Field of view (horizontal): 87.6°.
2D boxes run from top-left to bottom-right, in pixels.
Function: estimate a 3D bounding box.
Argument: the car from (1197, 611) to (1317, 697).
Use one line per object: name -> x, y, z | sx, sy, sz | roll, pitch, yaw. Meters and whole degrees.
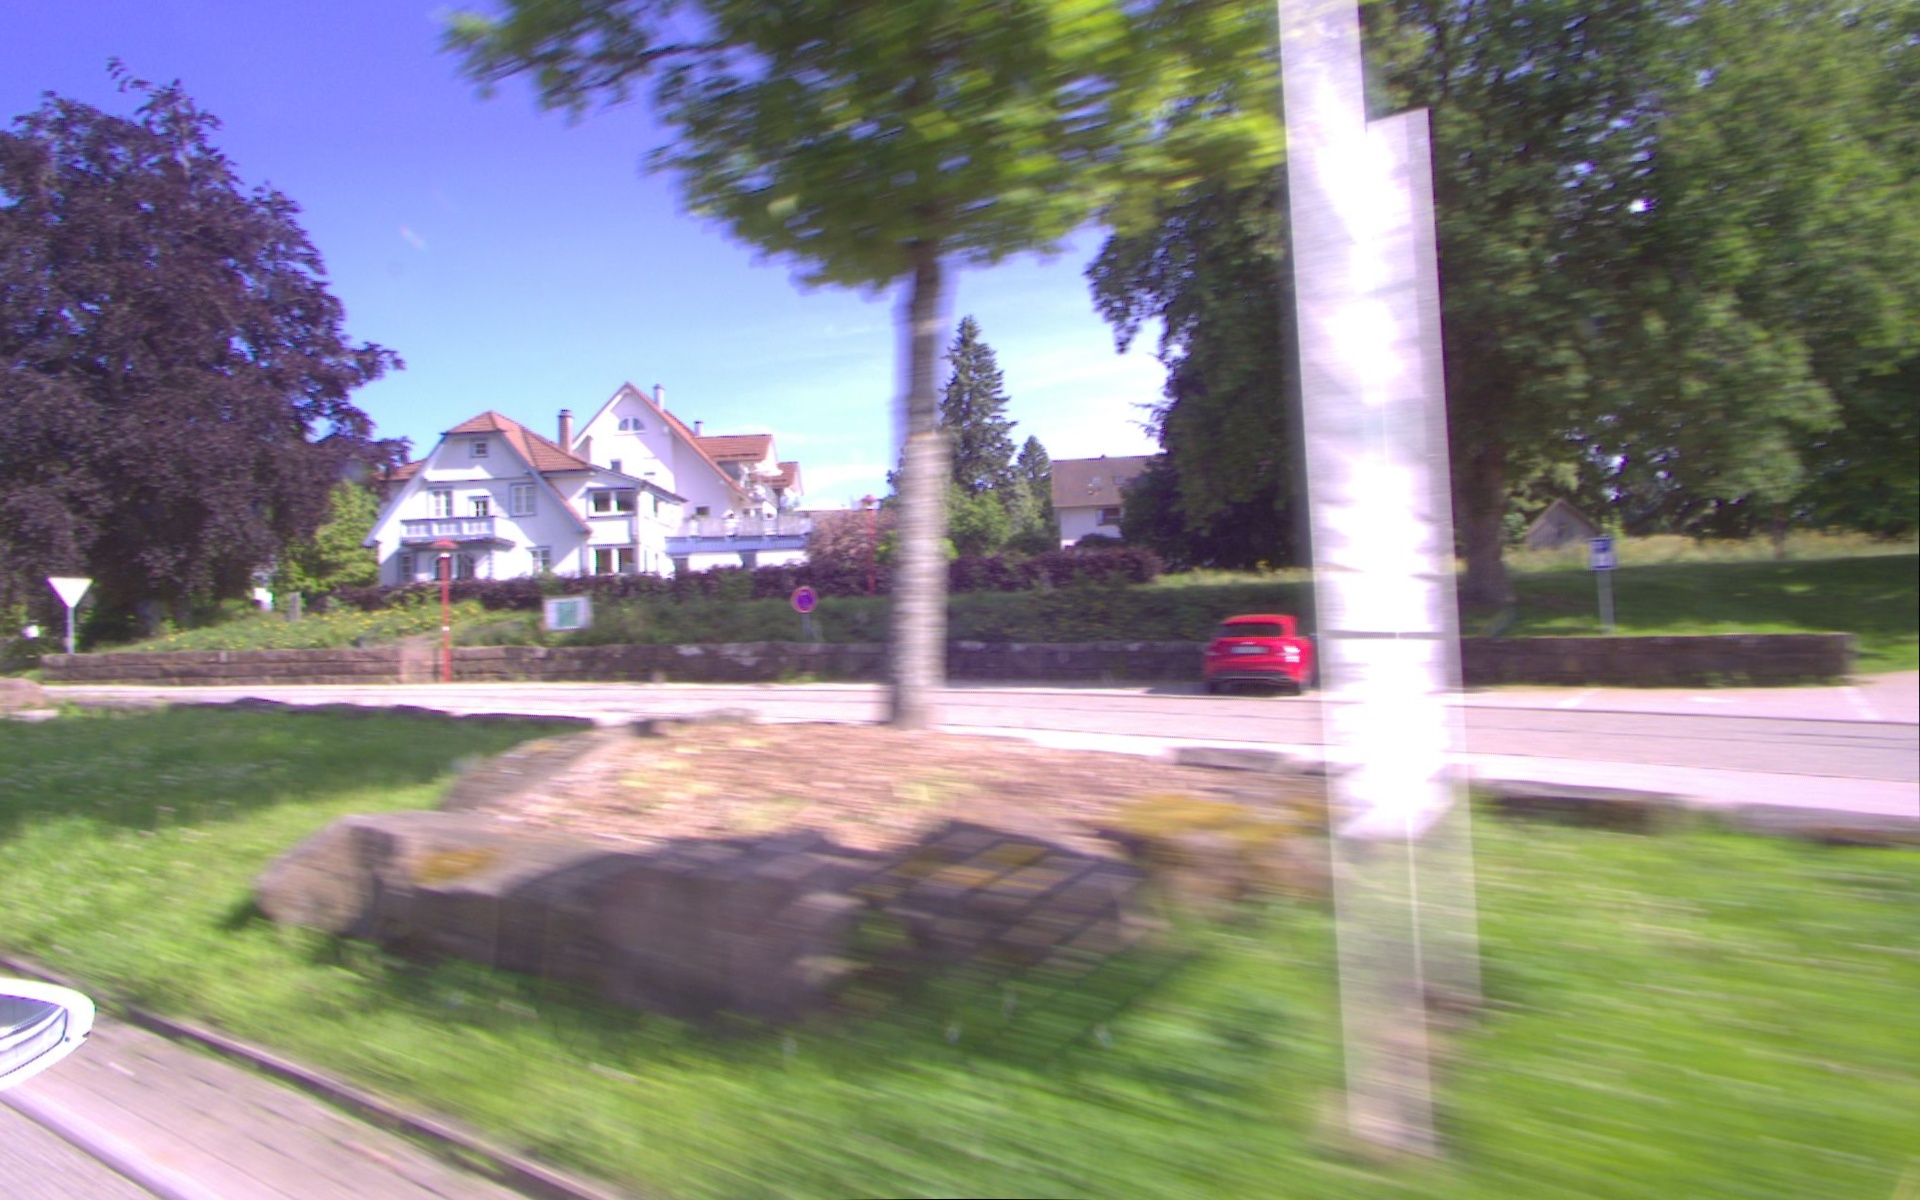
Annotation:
car -> 5.801, 0.952, 19.231 | 1.674, 1.447, 4.254 | -2, -1, 24
